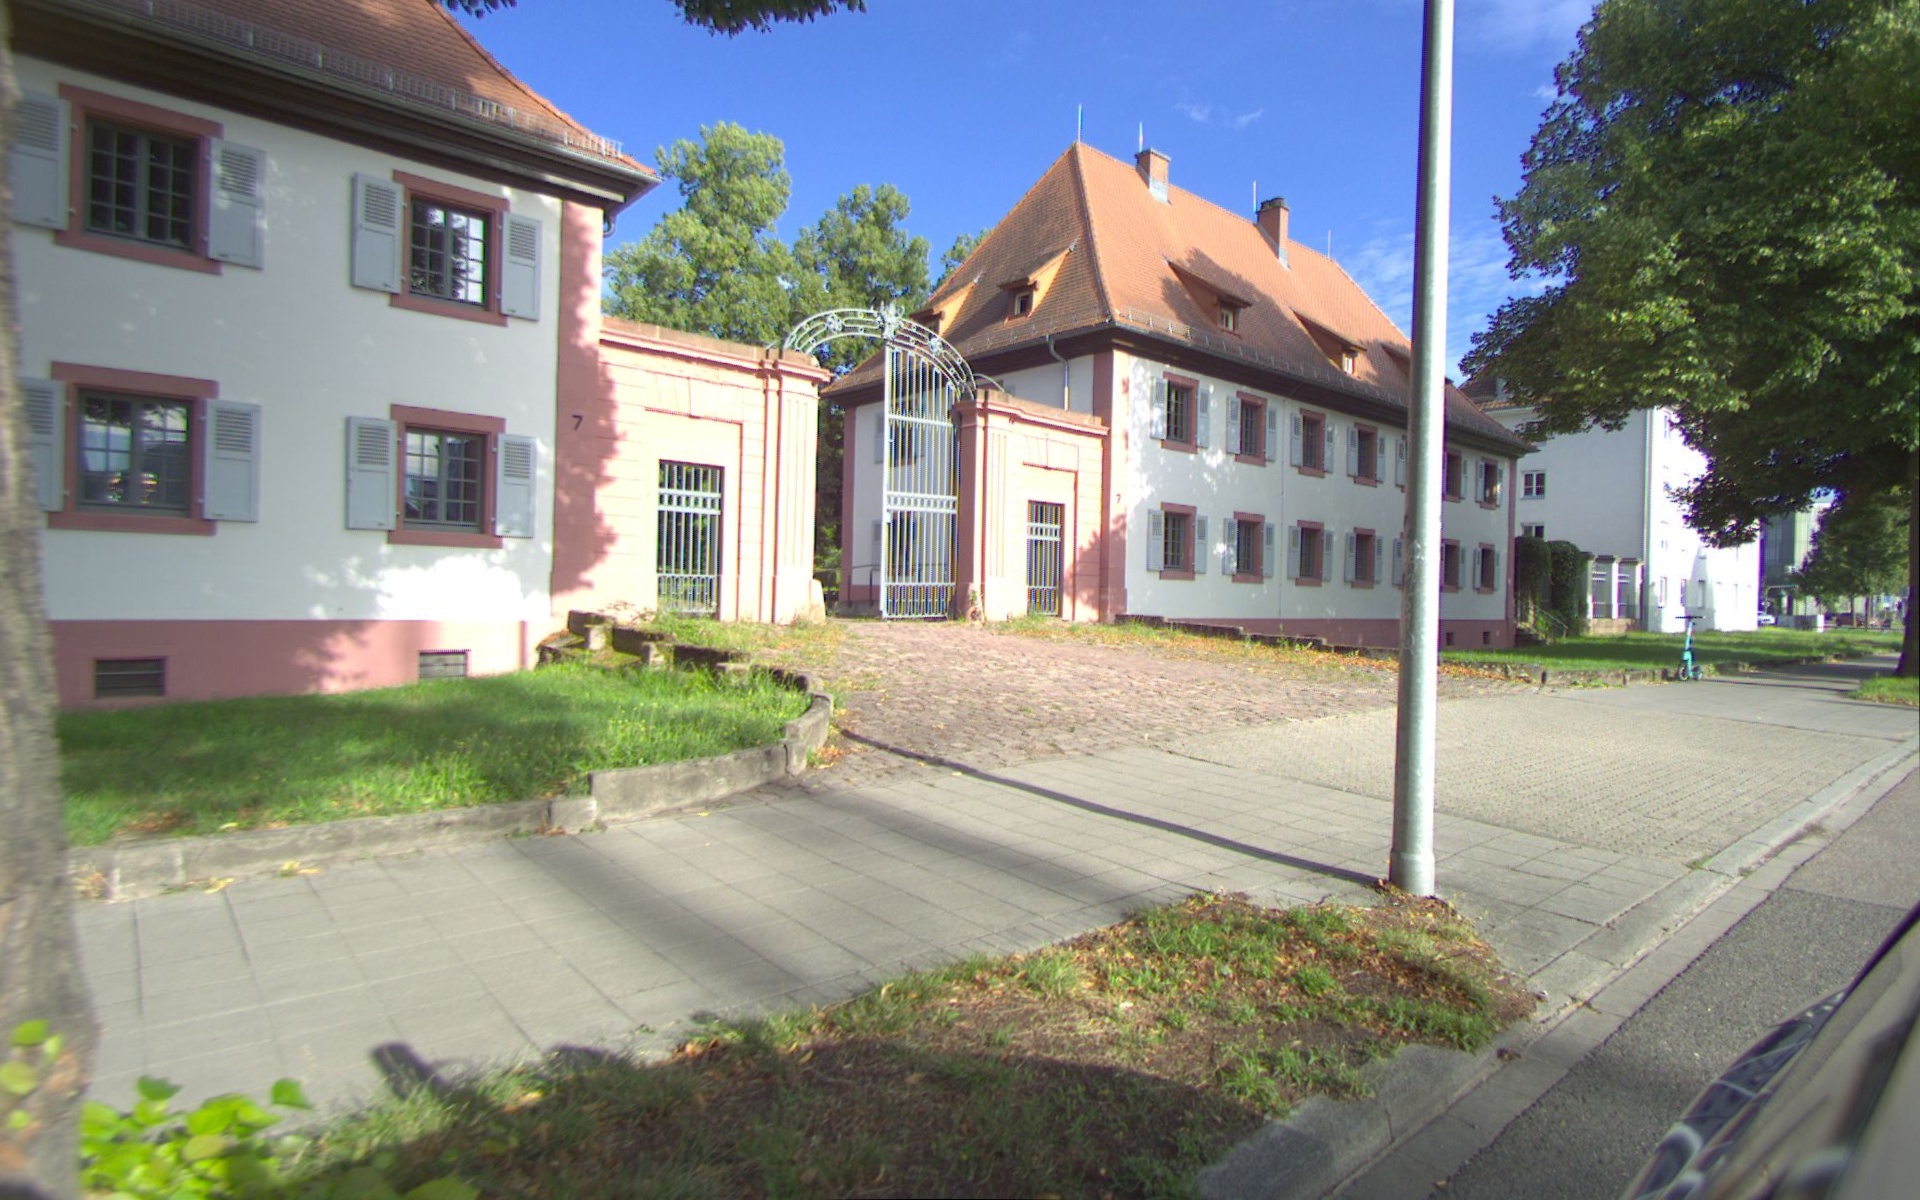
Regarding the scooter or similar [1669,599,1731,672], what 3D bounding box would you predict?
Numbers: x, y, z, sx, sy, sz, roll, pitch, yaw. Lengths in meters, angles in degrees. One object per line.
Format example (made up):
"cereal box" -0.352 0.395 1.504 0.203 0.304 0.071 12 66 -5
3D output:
"scooter or similar" 13.983 0.653 19.109 1.356 1.307 0.580 1 2 -40
